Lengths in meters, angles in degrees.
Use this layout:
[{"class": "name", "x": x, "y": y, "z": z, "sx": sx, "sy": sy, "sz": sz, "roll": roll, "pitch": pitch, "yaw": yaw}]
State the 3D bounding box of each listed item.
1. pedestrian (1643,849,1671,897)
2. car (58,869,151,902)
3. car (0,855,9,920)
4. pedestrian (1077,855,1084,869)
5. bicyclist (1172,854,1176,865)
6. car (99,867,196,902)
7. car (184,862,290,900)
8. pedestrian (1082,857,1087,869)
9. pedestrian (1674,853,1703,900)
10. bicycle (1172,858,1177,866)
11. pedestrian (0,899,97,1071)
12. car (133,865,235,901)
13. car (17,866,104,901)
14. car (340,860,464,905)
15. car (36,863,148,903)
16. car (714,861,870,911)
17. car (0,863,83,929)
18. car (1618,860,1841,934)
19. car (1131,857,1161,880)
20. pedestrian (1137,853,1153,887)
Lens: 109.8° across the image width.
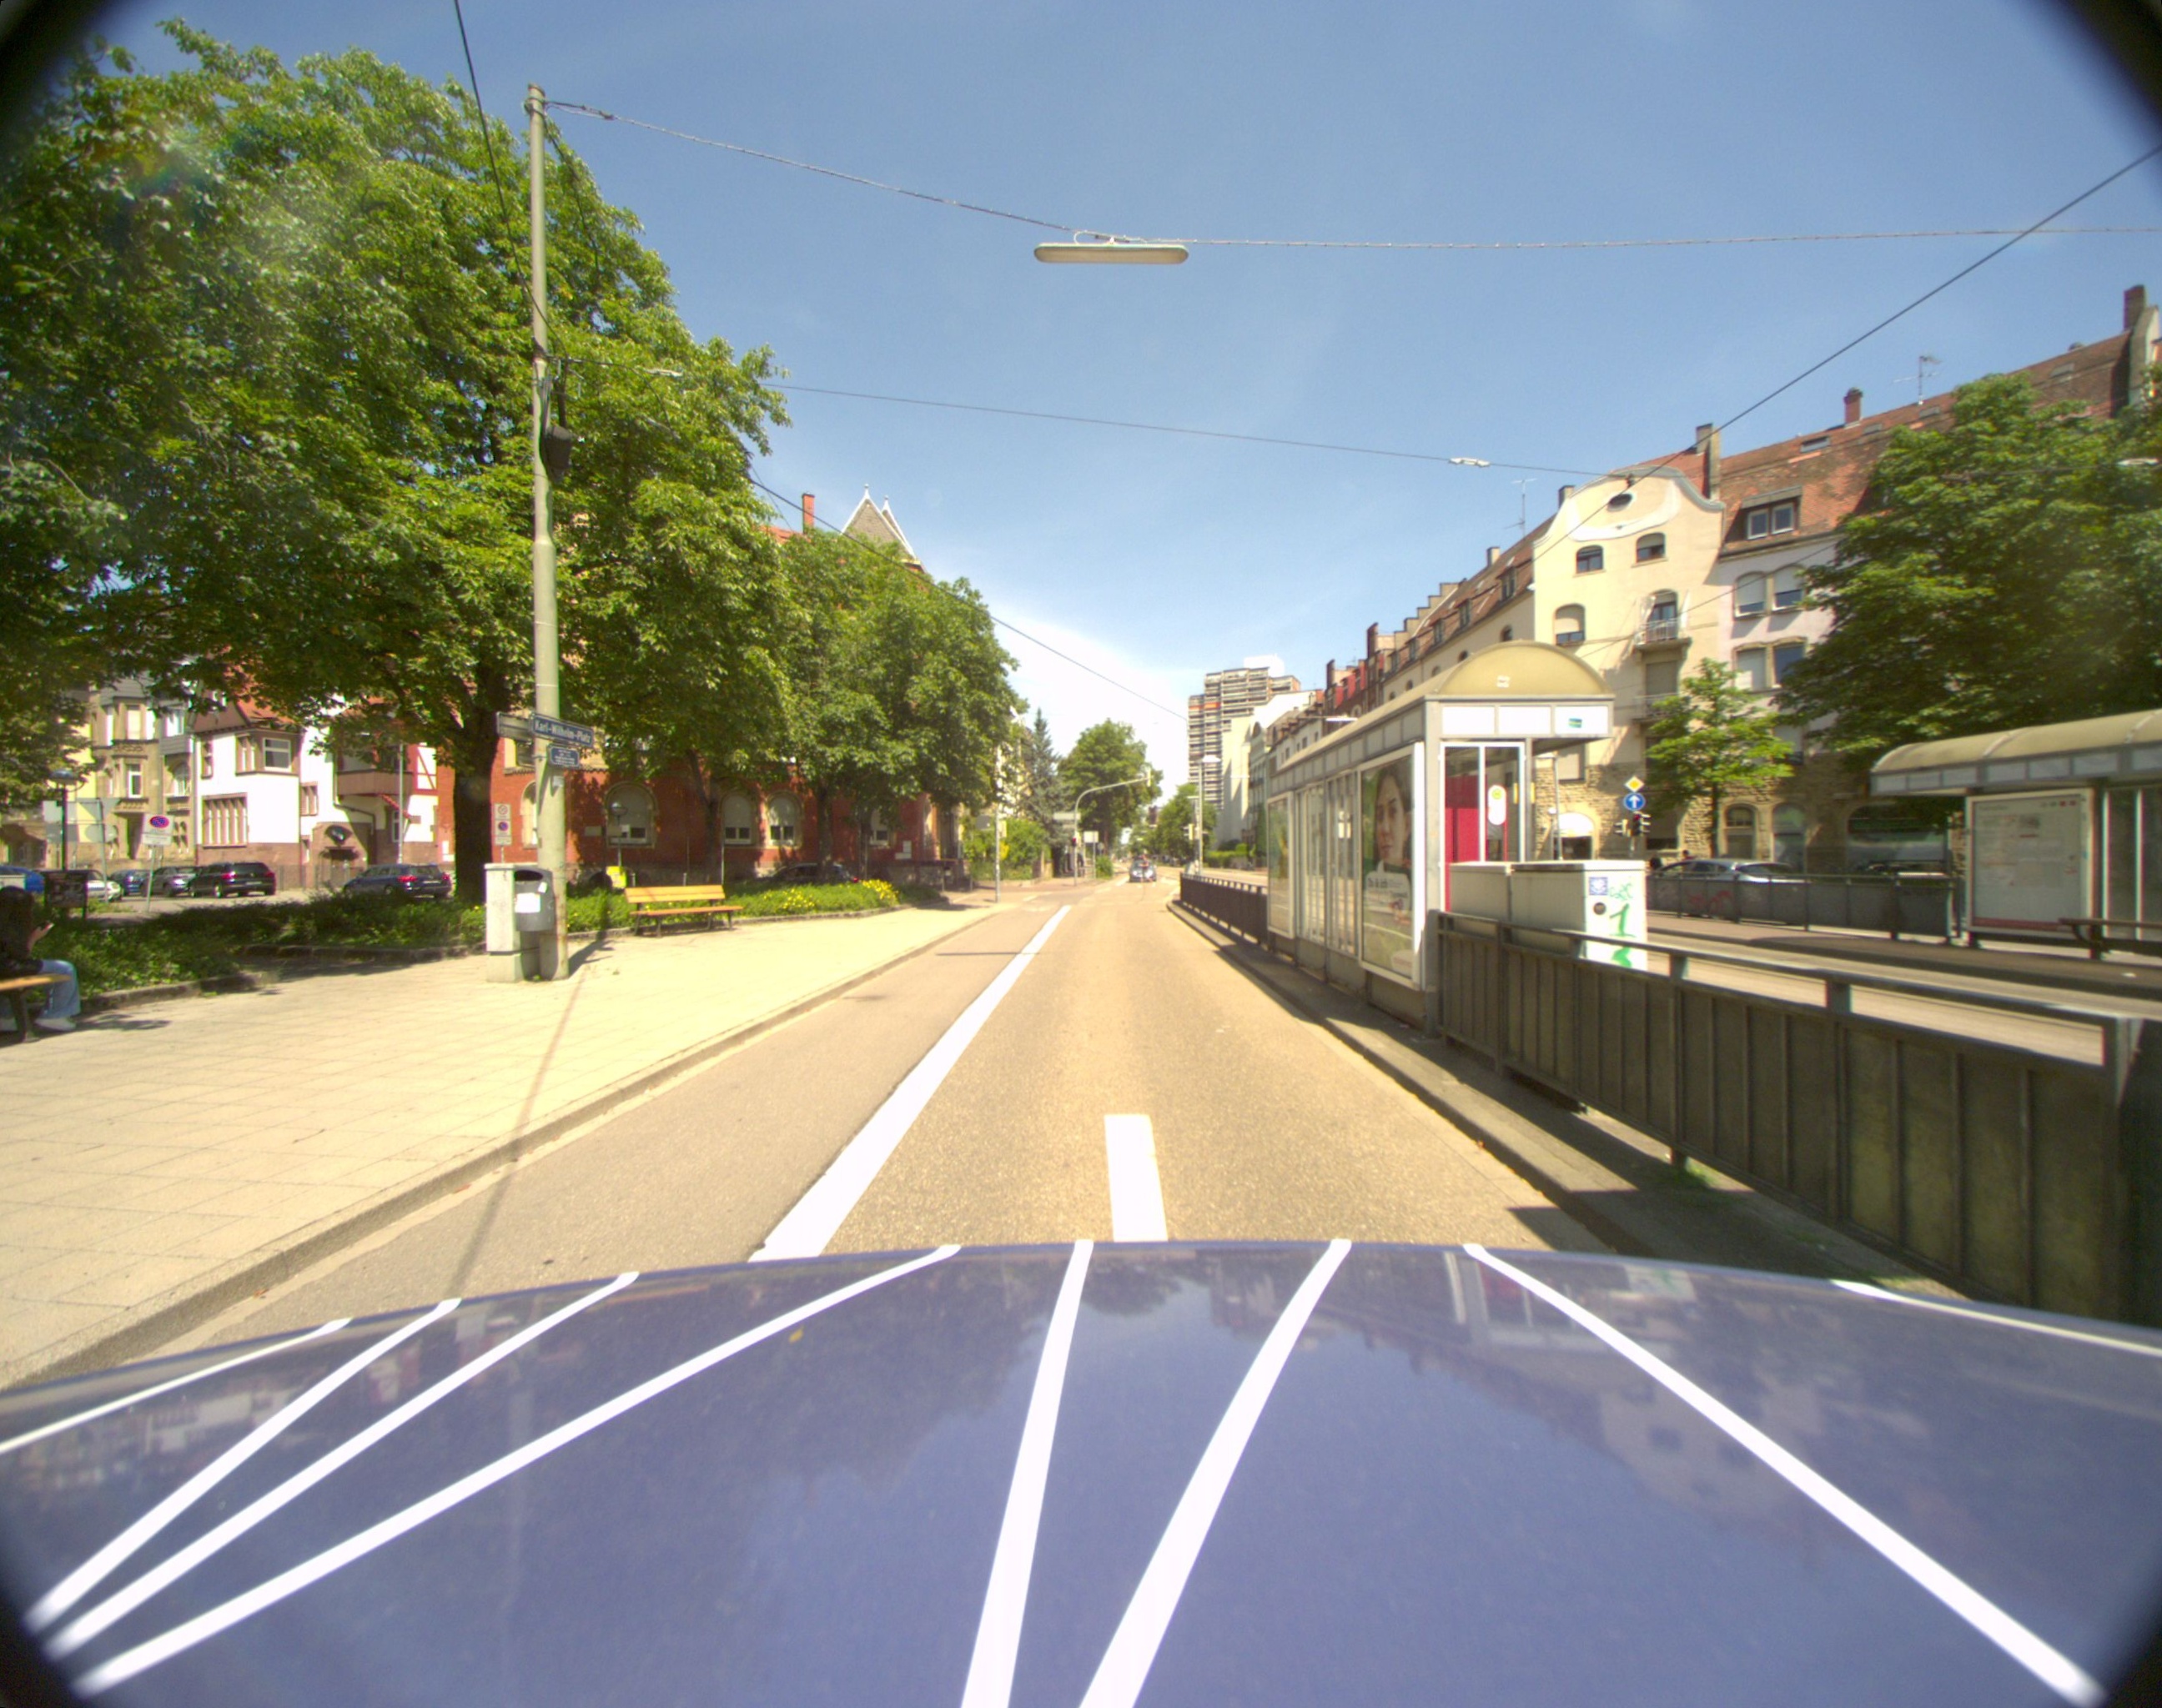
[{"class": "pedestrian", "x": 20.091, "y": 0.652, "z": 26.510, "sx": 0.594, "sy": 1.637, "sz": 0.474, "roll": 0, "pitch": 0, "yaw": 1}, {"class": "car", "x": -53.031, "y": 1.730, "z": 41.264, "sx": 4.299, "sy": 1.608, "sz": 1.941, "roll": -2, "pitch": 1, "yaw": 23}, {"class": "car", "x": -37.665, "y": 1.203, "z": 23.791, "sx": 1.934, "sy": 2.178, "sz": 4.315, "roll": -2, "pitch": 1, "yaw": 23}, {"class": "pedestrian", "x": -0.070, "y": 0.891, "z": 84.745, "sx": 0.702, "sy": 1.645, "sz": 0.665, "roll": 0, "pitch": 0, "yaw": 1}, {"class": "bicyclist", "x": 16.886, "y": 0.990, "z": 137.674, "sx": 0.644, "sy": 1.864, "sz": 0.716, "roll": -2, "pitch": 1, "yaw": -2}, {"class": "car", "x": -48.430, "y": 1.574, "z": 39.429, "sx": 4.299, "sy": 1.608, "sz": 1.941, "roll": -2, "pitch": 1, "yaw": 23}, {"class": "car", "x": -39.596, "y": 1.277, "z": 35.662, "sx": 4.299, "sy": 1.608, "sz": 1.941, "roll": -2, "pitch": 1, "yaw": 23}, {"class": "pedestrian", "x": 0.548, "y": 1.260, "z": 110.894, "sx": 0.686, "sy": 1.732, "sz": 0.660, "roll": -2, "pitch": 1, "yaw": 3}, {"class": "pedestrian", "x": 20.320, "y": 0.752, "z": 25.412, "sx": 0.594, "sy": 1.542, "sz": 0.474, "roll": 0, "pitch": 0, "yaw": -1}, {"class": "bicycle", "x": 16.913, "y": 1.439, "z": 137.690, "sx": 0.644, "sy": 1.503, "sz": 1.970, "roll": -2, "pitch": 1, "yaw": -2}, {"class": "pedestrian", "x": -7.746, "y": 0.914, "z": 5.417, "sx": 0.566, "sy": 1.136, "sz": 0.725, "roll": 0, "pitch": 1, "yaw": -16}, {"class": "car", "x": -44.156, "y": 1.432, "z": 37.407, "sx": 4.299, "sy": 1.608, "sz": 1.941, "roll": -2, "pitch": 1, "yaw": 23}, {"class": "car", "x": -59.185, "y": 1.711, "z": 44.073, "sx": 4.299, "sy": 1.862, "sz": 1.941, "roll": -2, "pitch": 1, "yaw": 23}, {"class": "car", "x": -27.049, "y": 1.135, "z": 30.284, "sx": 4.299, "sy": 1.608, "sz": 1.941, "roll": -2, "pitch": 1, "yaw": 23}, {"class": "car", "x": -39.428, "y": 1.140, "z": 30.304, "sx": 3.644, "sy": 1.497, "sz": 1.708, "roll": -1, "pitch": 0, "yaw": 21}, {"class": "car", "x": -10.609, "y": 1.113, "z": 28.038, "sx": 5.043, "sy": 1.473, "sz": 1.933, "roll": -3, "pitch": 1, "yaw": -31}, {"class": "car", "x": -32.849, "y": 1.303, "z": 22.023, "sx": 1.934, "sy": 1.869, "sz": 4.315, "roll": -2, "pitch": 1, "yaw": 23}, {"class": "car", "x": 14.834, "y": 0.912, "z": 17.728, "sx": 1.812, "sy": 1.386, "sz": 3.999, "roll": -2, "pitch": 1, "yaw": 1}, {"class": "car", "x": 4.343, "y": 0.962, "z": 50.999, "sx": 1.895, "sy": 1.372, "sz": 4.001, "roll": -2, "pitch": 1, "yaw": 5}, {"class": "pedestrian", "x": 3.468, "y": 0.851, "z": 41.247, "sx": 0.838, "sy": 1.813, "sz": 0.674, "roll": 0, "pitch": 0, "yaw": 6}]
